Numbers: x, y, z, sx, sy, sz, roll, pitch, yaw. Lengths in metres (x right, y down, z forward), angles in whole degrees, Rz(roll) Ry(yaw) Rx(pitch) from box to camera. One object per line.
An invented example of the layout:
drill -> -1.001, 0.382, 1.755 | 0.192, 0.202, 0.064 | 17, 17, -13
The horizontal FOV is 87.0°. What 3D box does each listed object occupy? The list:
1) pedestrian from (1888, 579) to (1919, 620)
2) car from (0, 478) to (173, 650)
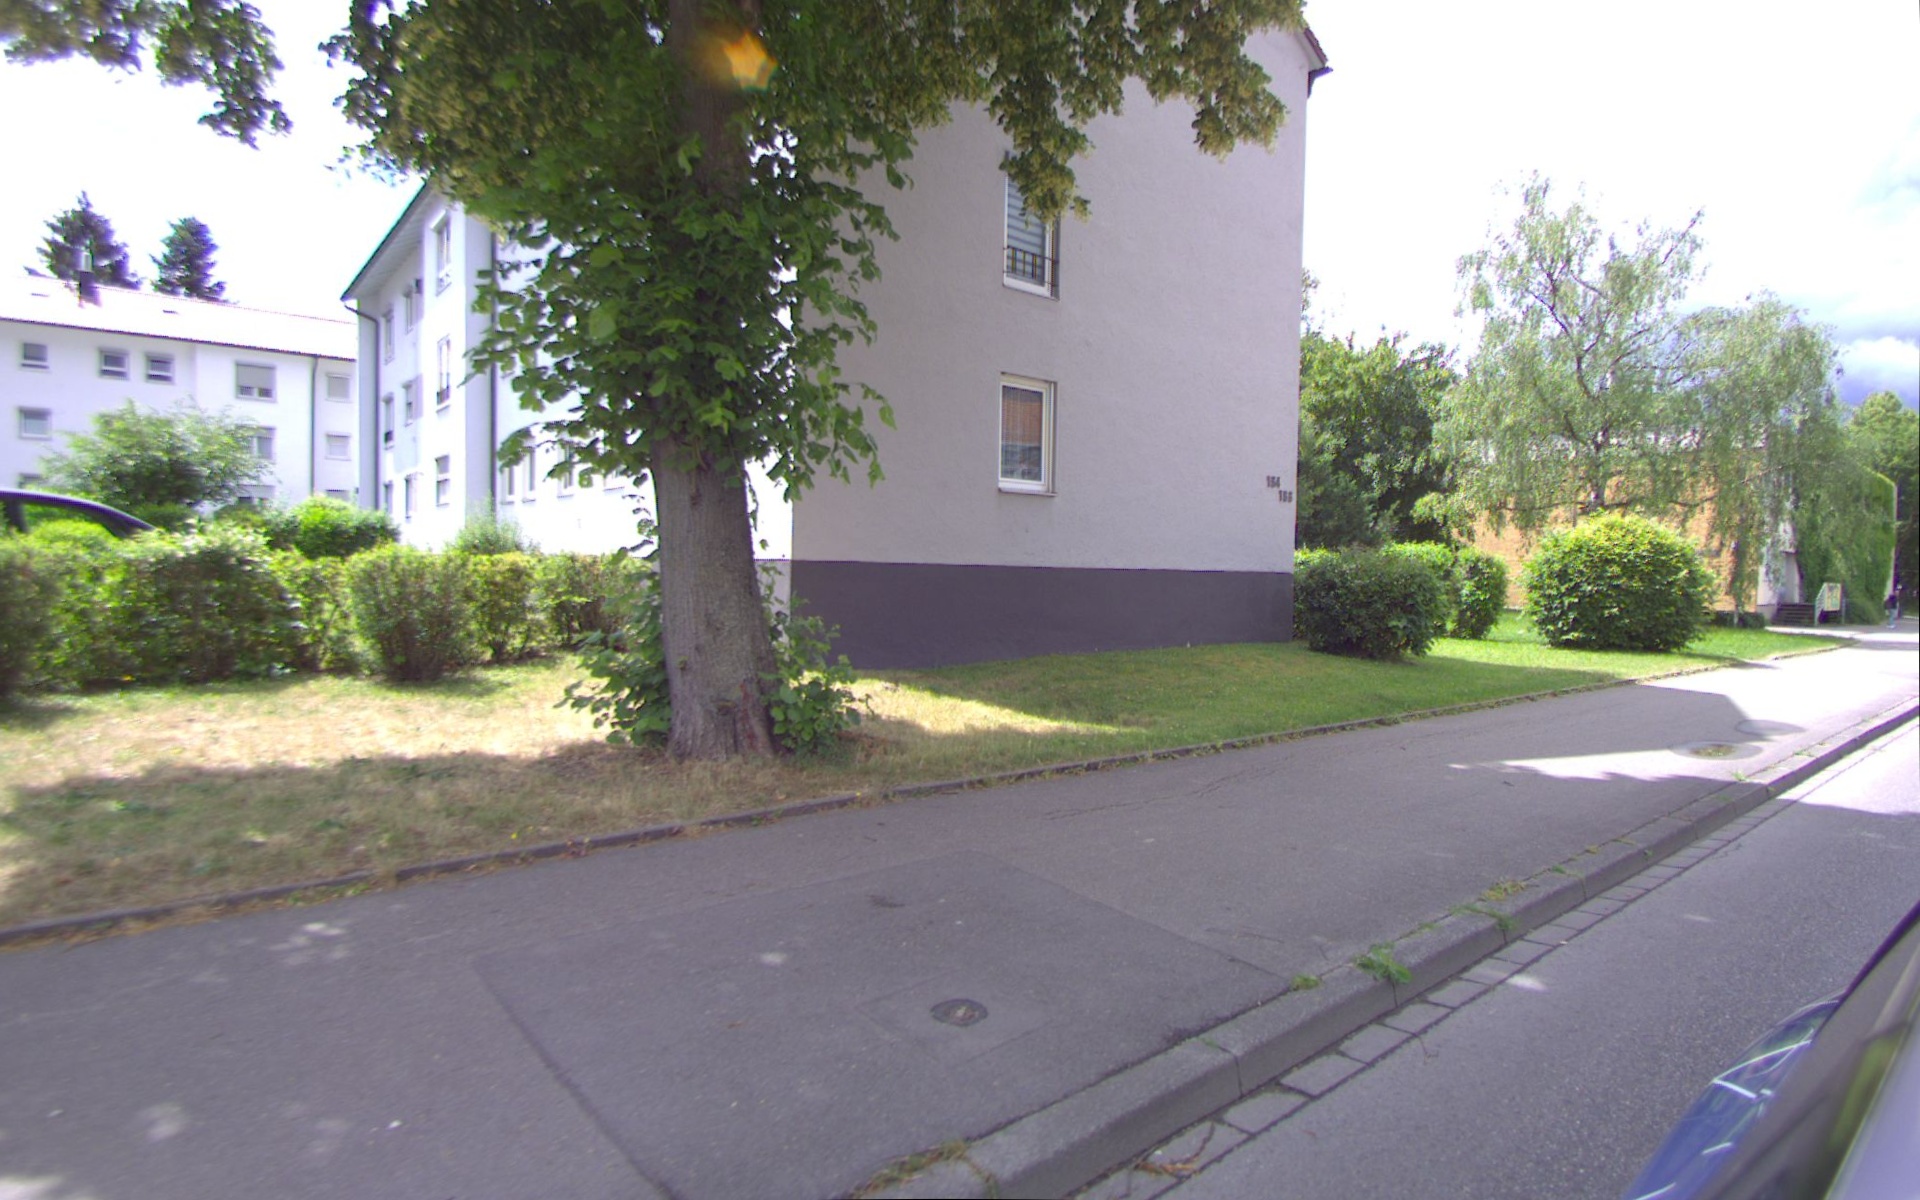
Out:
pedestrian -> 42.695, -0.048, 45.794 | 0.801, 1.792, 0.812 | 0, 4, -36
car -> -9.073, -0.300, 8.624 | 3.677, 1.433, 1.679 | 0, 0, -41
